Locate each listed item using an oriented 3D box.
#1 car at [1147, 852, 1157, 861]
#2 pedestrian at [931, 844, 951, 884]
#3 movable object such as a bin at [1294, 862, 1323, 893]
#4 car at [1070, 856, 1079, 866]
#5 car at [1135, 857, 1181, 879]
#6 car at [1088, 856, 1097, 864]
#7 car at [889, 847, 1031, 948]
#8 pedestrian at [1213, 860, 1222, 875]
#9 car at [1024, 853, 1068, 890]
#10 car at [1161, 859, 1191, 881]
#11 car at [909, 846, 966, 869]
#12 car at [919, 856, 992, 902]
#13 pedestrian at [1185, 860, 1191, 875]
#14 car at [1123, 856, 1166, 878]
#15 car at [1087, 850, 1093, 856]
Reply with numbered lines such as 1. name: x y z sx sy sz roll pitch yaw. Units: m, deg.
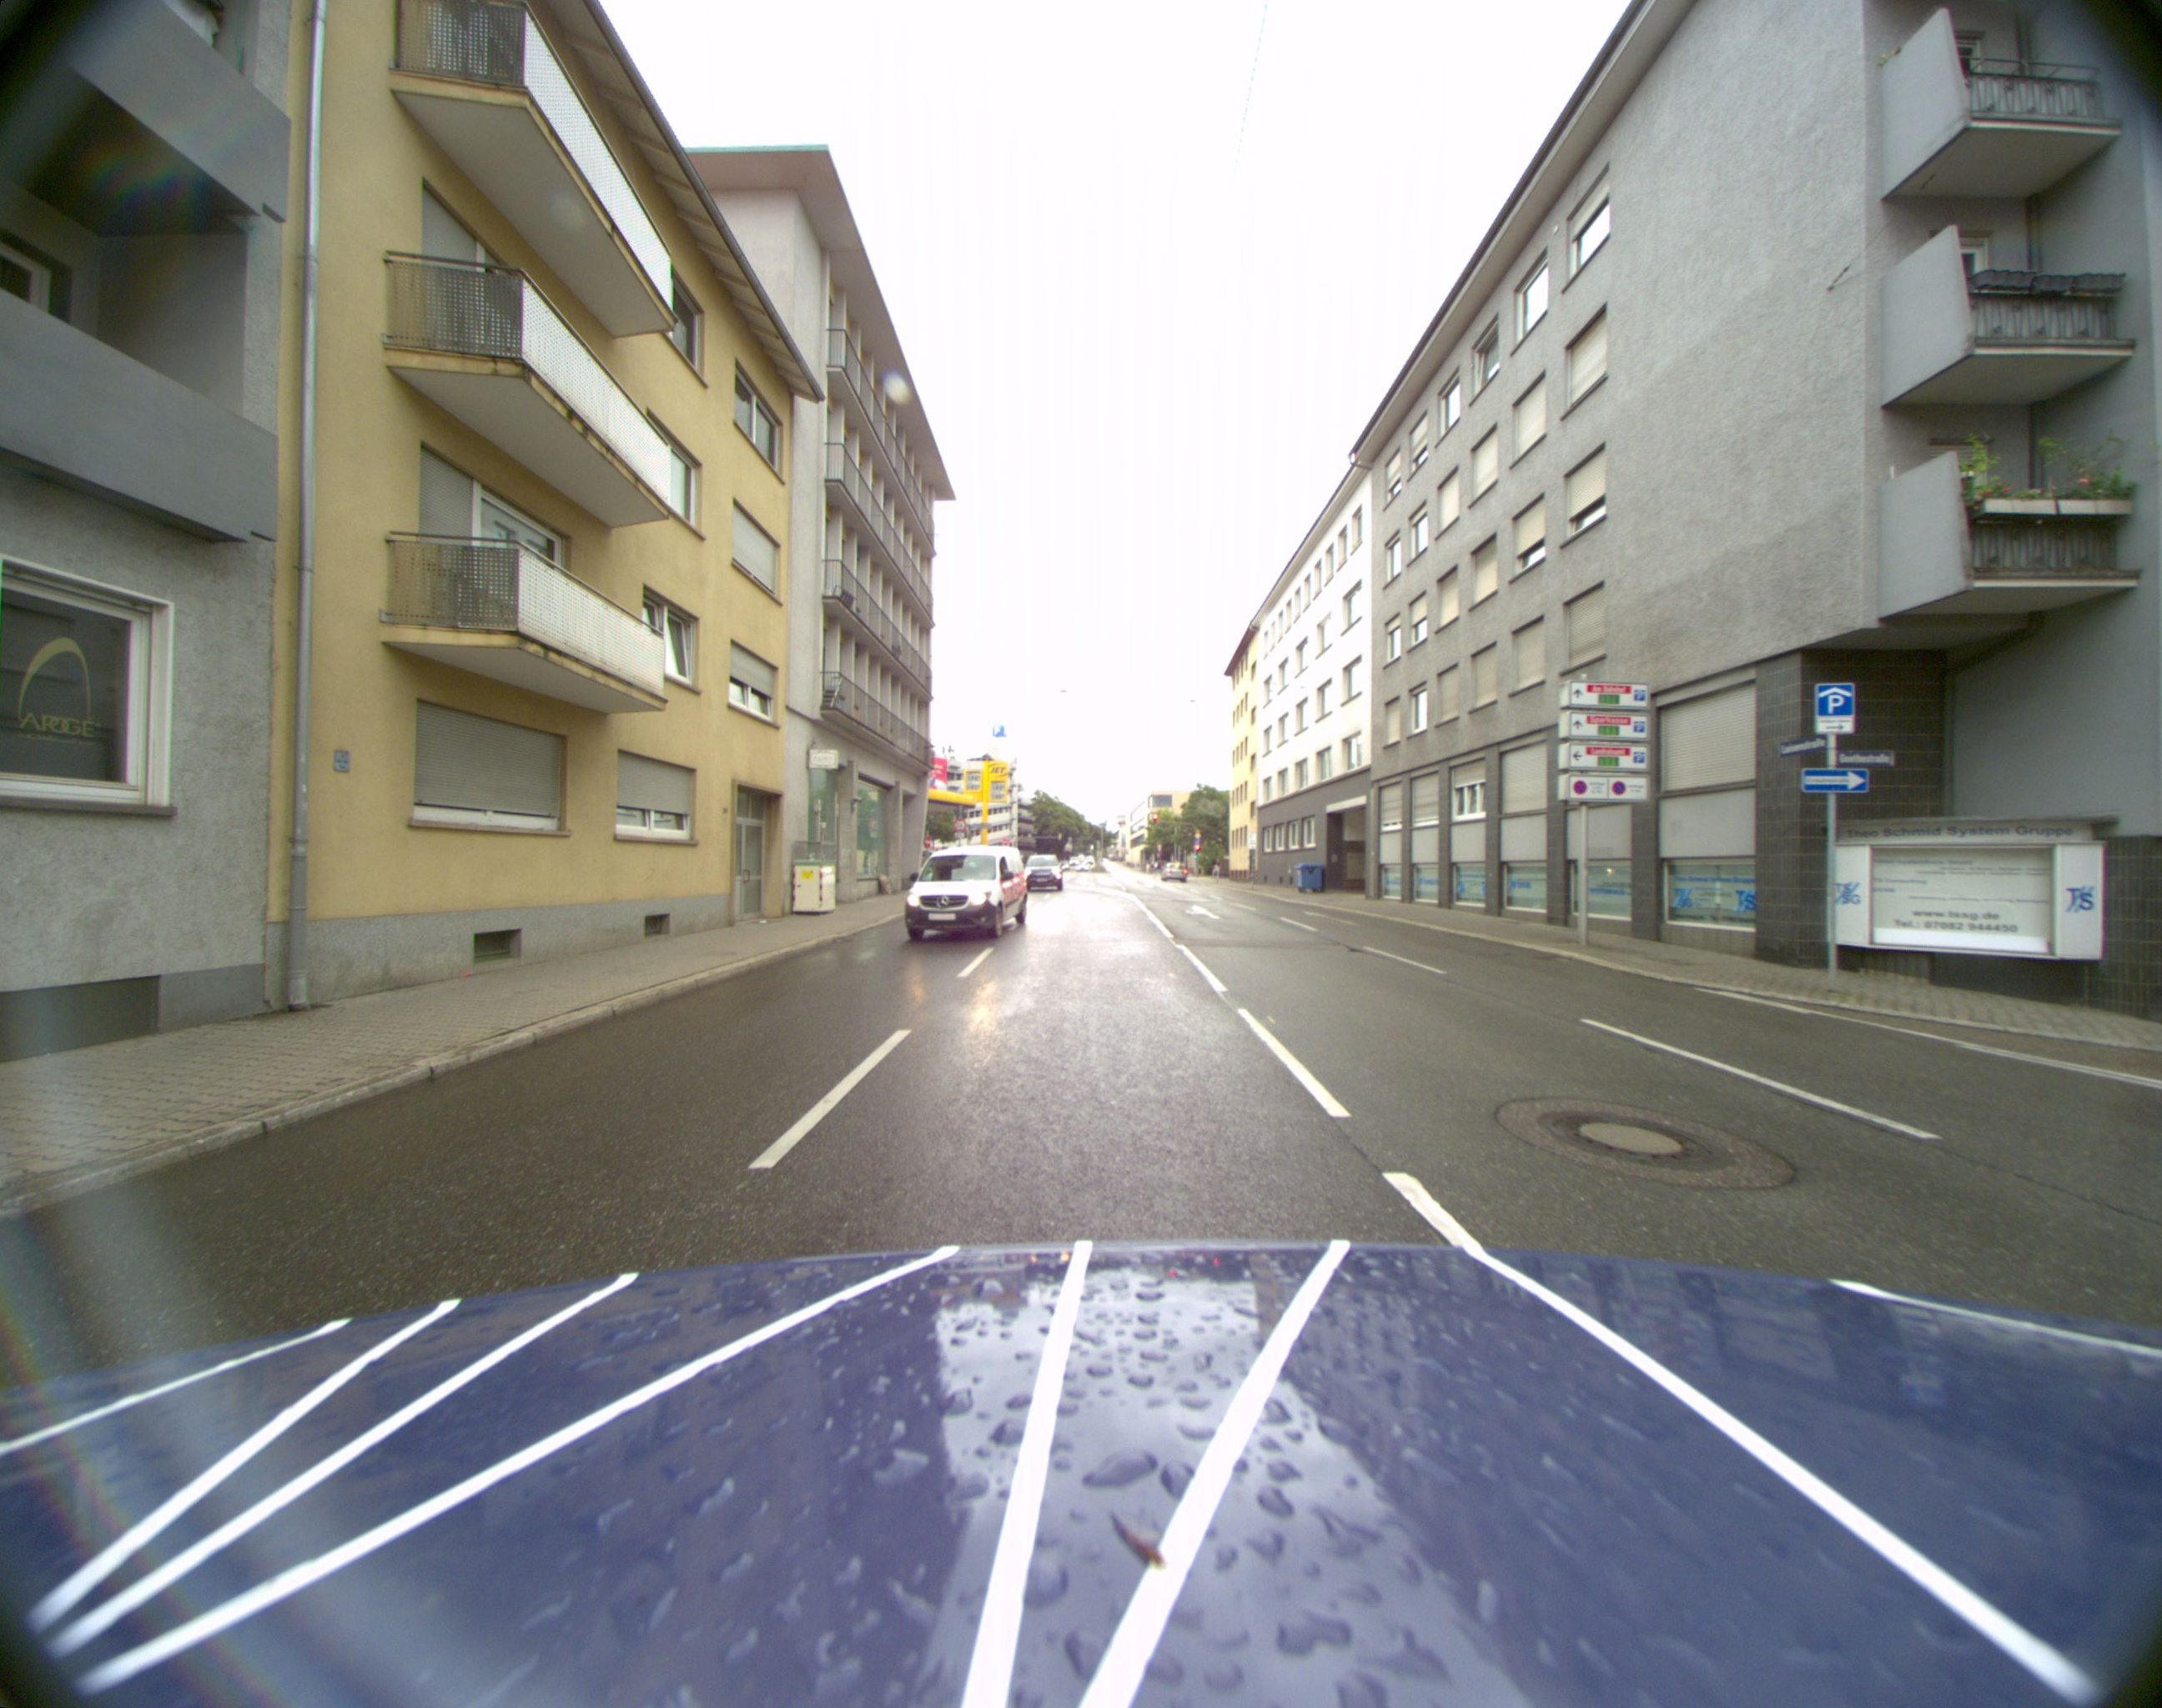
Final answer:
1. car: 15.685 0.624 167.835 1.998 1.863 3.999 -2 1 1
2. pedestrian: -6.201 0.452 33.655 0.679 1.745 0.888 1 1 2
3. movable object such as a bin: 10.354 1.065 34.580 0.946 1.325 1.096 -3 0 1
4. car: -1.456 1.612 177.197 1.998 2.002 3.999 -2 1 1
5. car: 6.944 1.234 68.787 3.929 1.706 1.902 -3 0 2
6. car: 2.826 1.497 184.195 1.998 1.736 3.999 -2 1 1
7. car: -2.315 0.770 15.917 1.945 1.764 4.747 -2 0 3
8. pedestrian: 10.389 1.031 57.683 0.582 1.143 0.407 3 1 7
9. car: -1.560 0.763 34.957 1.771 1.571 4.000 -1 0 1
10. car: 7.485 1.247 59.927 1.883 1.580 4.373 0 0 1
11. car: -10.268 0.235 54.389 3.989 1.465 1.775 -2 0 39
12. car: -4.352 0.828 26.881 1.803 1.427 4.166 1 0 1
13. pedestrian: 9.728 1.225 68.960 0.442 1.362 0.535 3 1 2
14. car: 5.923 1.197 71.024 3.794 1.823 1.692 -3 0 2
15. car: 2.976 -0.411 253.691 1.998 2.002 3.999 -2 1 1
